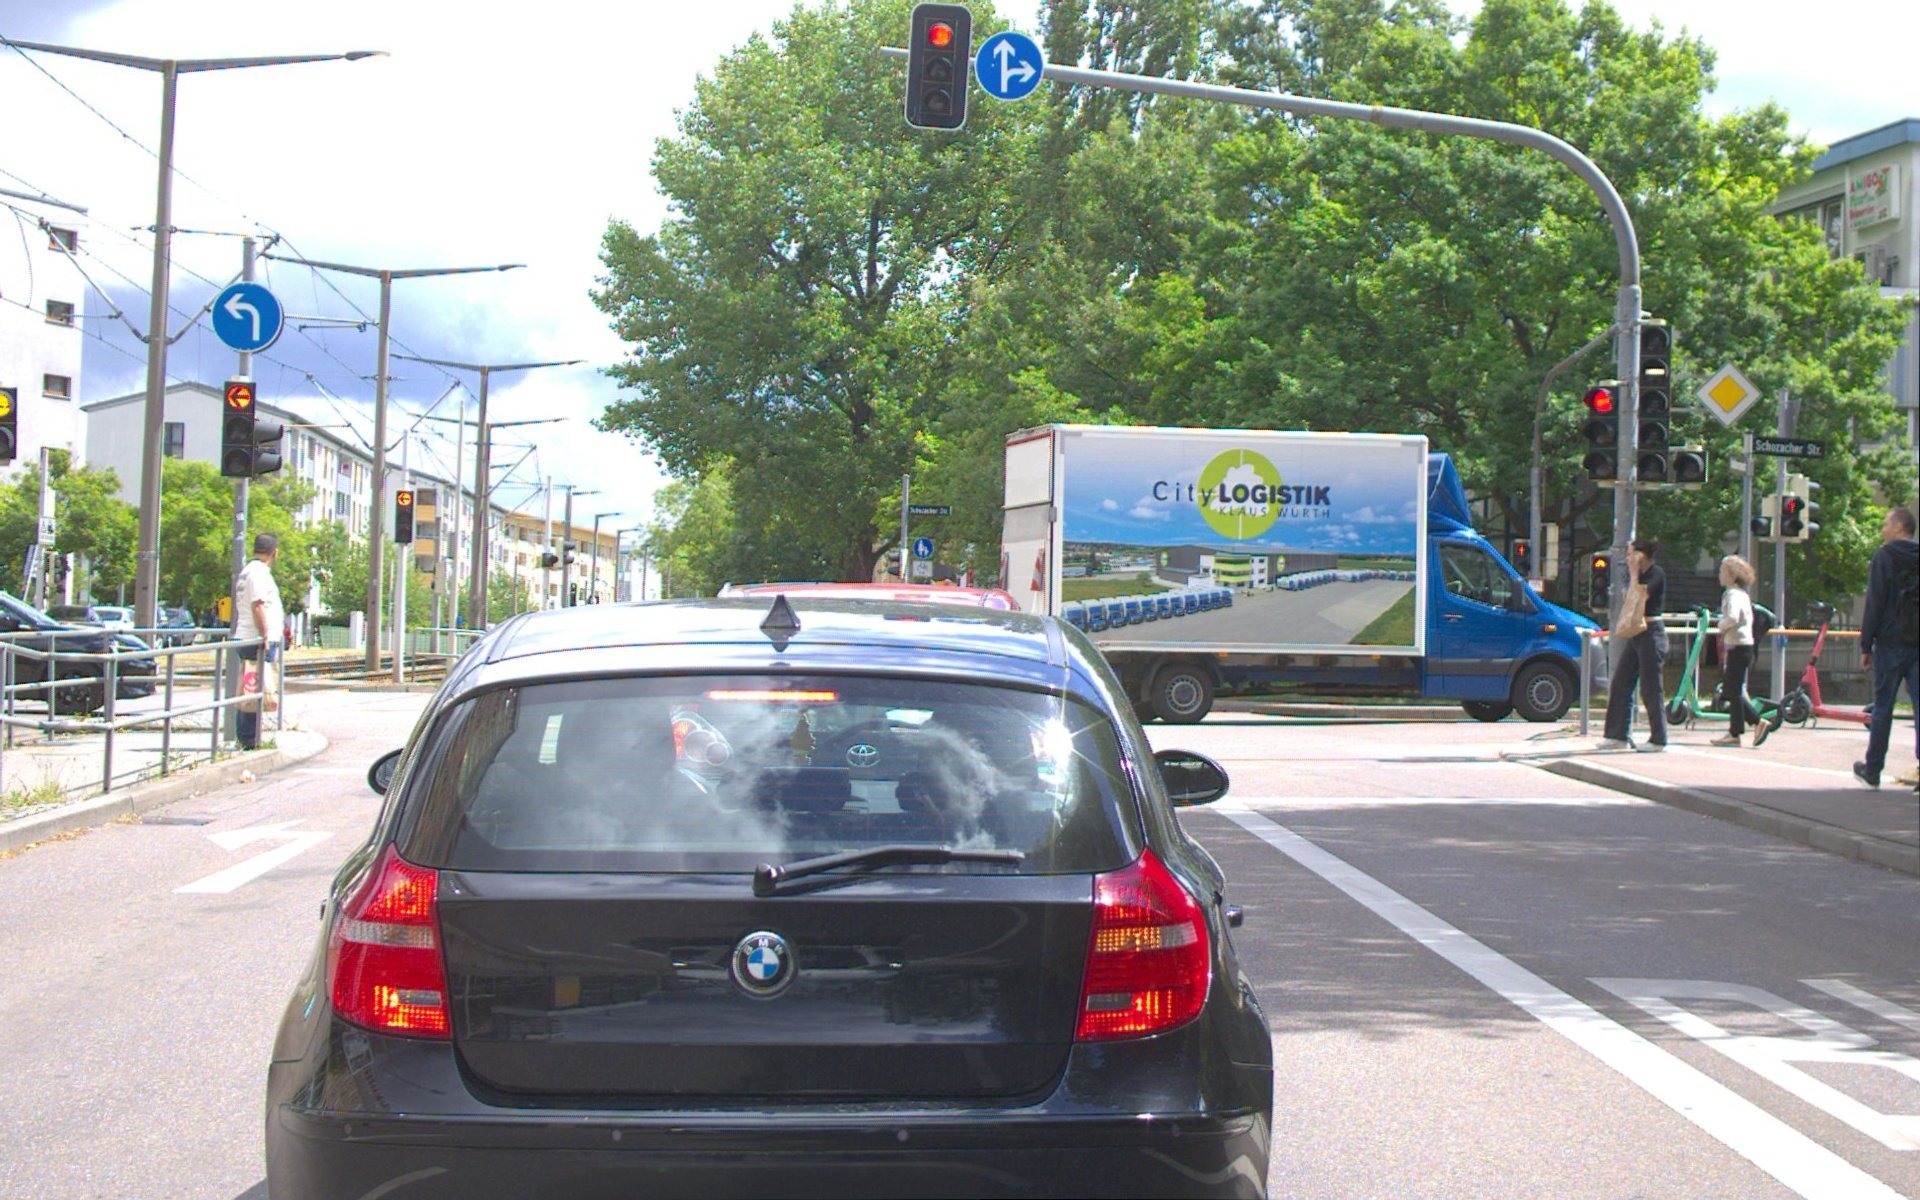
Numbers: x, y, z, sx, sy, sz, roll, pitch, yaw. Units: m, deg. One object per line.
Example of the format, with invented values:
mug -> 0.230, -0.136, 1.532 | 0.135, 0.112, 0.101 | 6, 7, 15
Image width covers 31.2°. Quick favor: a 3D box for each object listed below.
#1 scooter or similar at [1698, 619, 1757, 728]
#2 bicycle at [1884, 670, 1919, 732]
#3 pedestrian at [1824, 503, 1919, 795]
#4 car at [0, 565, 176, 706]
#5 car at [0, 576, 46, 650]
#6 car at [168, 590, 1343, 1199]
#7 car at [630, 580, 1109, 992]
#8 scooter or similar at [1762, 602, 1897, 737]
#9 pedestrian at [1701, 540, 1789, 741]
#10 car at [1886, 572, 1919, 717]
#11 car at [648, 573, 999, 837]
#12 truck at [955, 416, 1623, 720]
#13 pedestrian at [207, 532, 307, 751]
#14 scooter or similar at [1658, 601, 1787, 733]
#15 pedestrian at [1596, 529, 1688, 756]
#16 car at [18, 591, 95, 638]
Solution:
scooter or similar -> 7.797, 0.739, 34.899 | 0.548, 1.060, 1.261 | 1, 0, 13
bicycle -> 10.232, 1.034, 34.925 | 1.587, 0.608, 0.534 | 1, 1, 20
pedestrian -> 6.215, 0.315, 22.634 | 0.795, 1.870, 1.013 | 1, 0, 1
car -> -10.559, 0.359, 37.240 | 3.986, 1.481, 1.848 | 1, 0, -12
car -> -23.780, 0.294, 84.667 | 1.591, 1.750, 3.775 | 1, 0, -2
car -> -0.321, 0.702, 6.728 | 1.700, 1.395, 3.420 | 1, 0, -1
car -> -0.334, 0.635, 13.631 | 1.638, 1.395, 3.420 | 1, 0, -1
scooter or similar -> 8.548, 0.675, 33.811 | 1.150, 1.268, 0.555 | 2, 0, 2
pedestrian -> 6.957, 0.353, 30.478 | 0.636, 1.760, 0.518 | 1, 0, 0
car -> 15.565, 0.622, 48.235 | 4.534, 2.007, 2.000 | 0, 0, -8
car -> -0.775, 0.557, 21.101 | 1.900, 1.417, 4.539 | 1, 0, -1
truck -> 3.800, -0.335, 40.124 | 7.266, 3.337, 2.609 | 1, 0, -14
pedestrian -> -5.635, 0.325, 27.584 | 0.687, 1.728, 0.688 | 1, 0, -4
scooter or similar -> 7.316, 0.639, 33.015 | 1.110, 1.231, 0.539 | 1, 0, 2
pedestrian -> 5.703, 0.353, 28.769 | 0.636, 1.870, 0.518 | 1, 0, 0
car -> -29.384, 0.462, 111.919 | 1.591, 1.469, 3.775 | 1, 0, -2
